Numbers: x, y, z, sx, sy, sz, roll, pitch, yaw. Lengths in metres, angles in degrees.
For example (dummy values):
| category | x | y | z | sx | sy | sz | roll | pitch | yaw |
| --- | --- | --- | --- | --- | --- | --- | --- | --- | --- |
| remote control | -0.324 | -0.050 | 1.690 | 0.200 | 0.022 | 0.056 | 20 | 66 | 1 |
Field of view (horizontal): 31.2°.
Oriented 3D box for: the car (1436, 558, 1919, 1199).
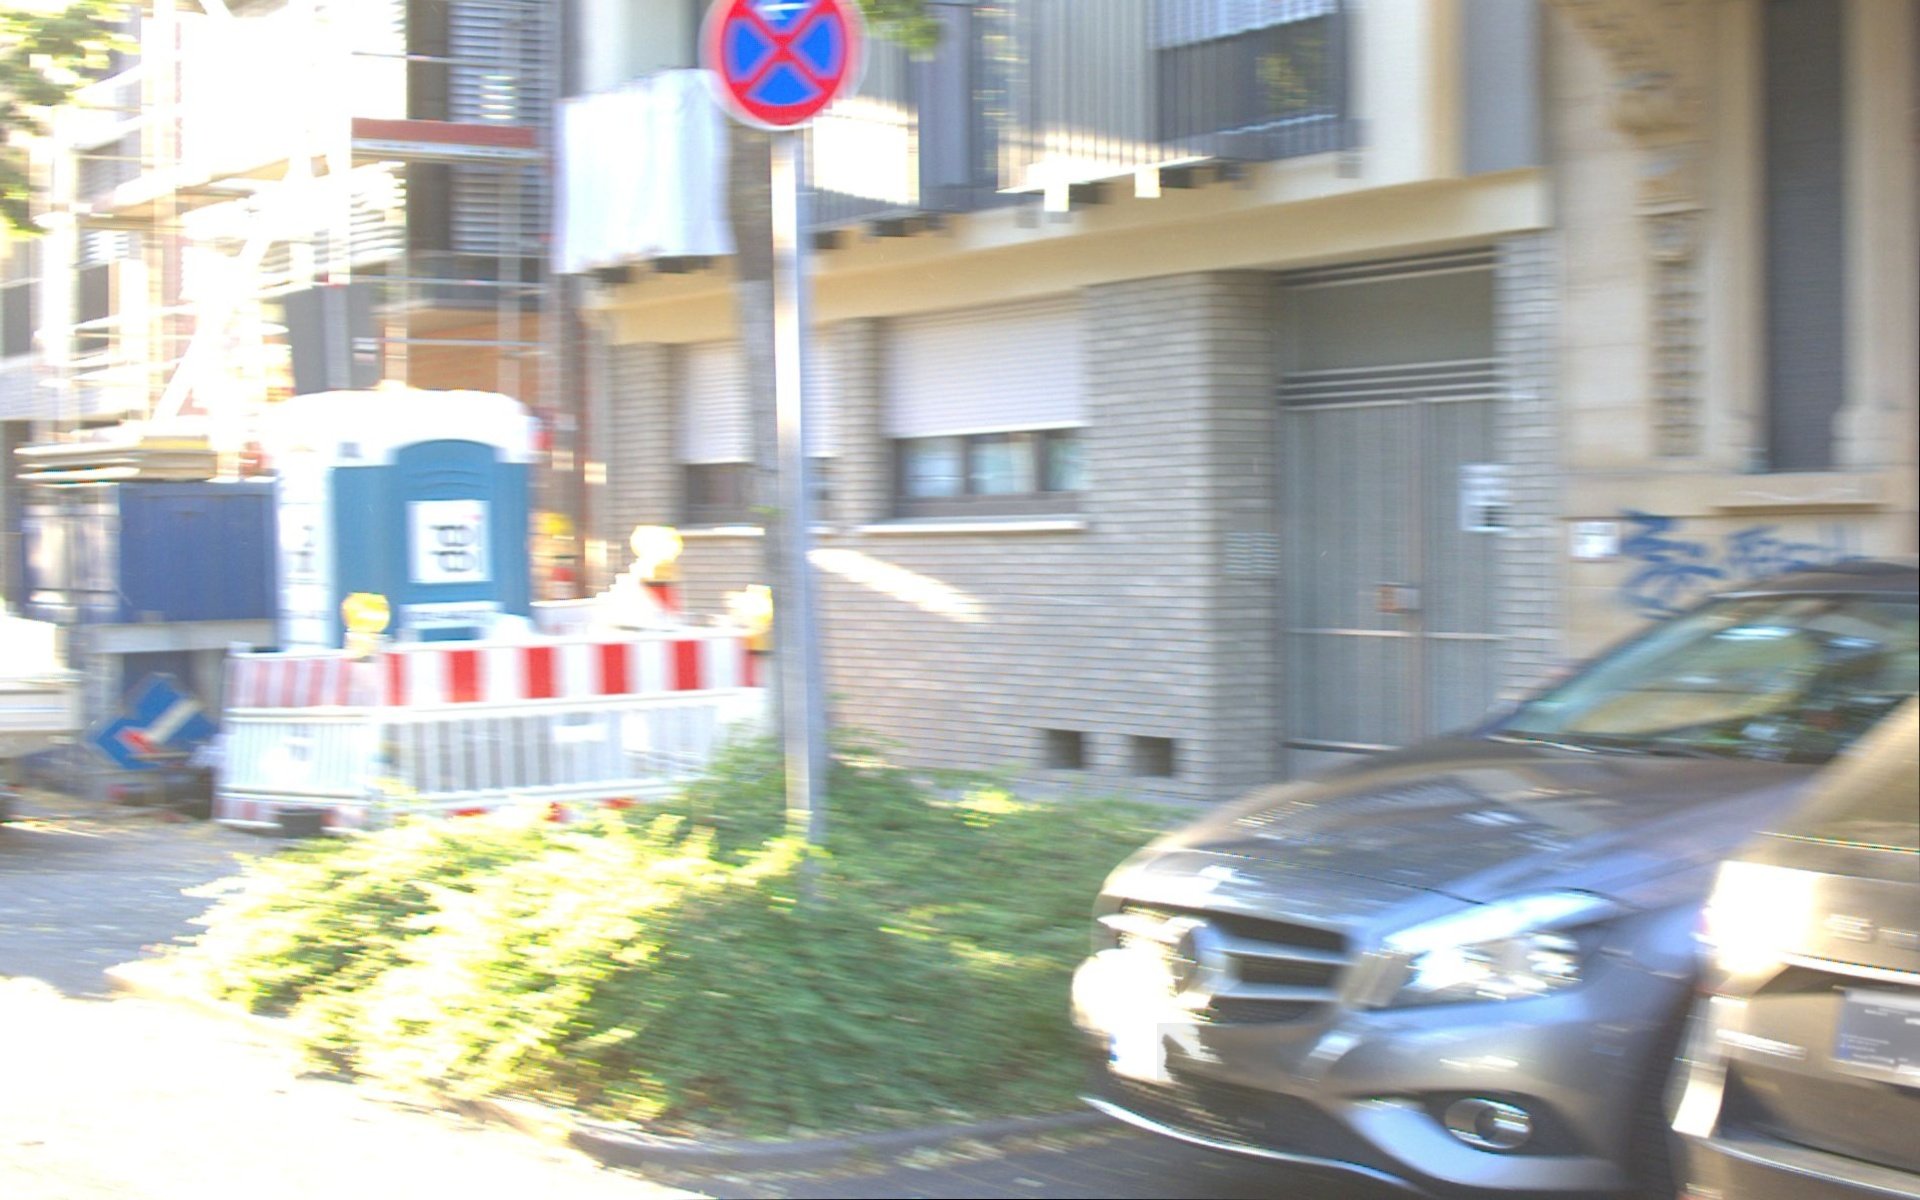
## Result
| category | x | y | z | sx | sy | sz | roll | pitch | yaw |
| --- | --- | --- | --- | --- | --- | --- | --- | --- | --- |
| car | 3.212 | 0.653 | 5.907 | 4.526 | 1.506 | 1.911 | -2 | 1 | -31 |

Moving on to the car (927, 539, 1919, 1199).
| category | x | y | z | sx | sy | sz | roll | pitch | yaw |
| --- | --- | --- | --- | --- | --- | --- | --- | --- | --- |
| car | 2.356 | 0.601 | 8.378 | 4.526 | 1.474 | 1.868 | -2 | 1 | -31 |
